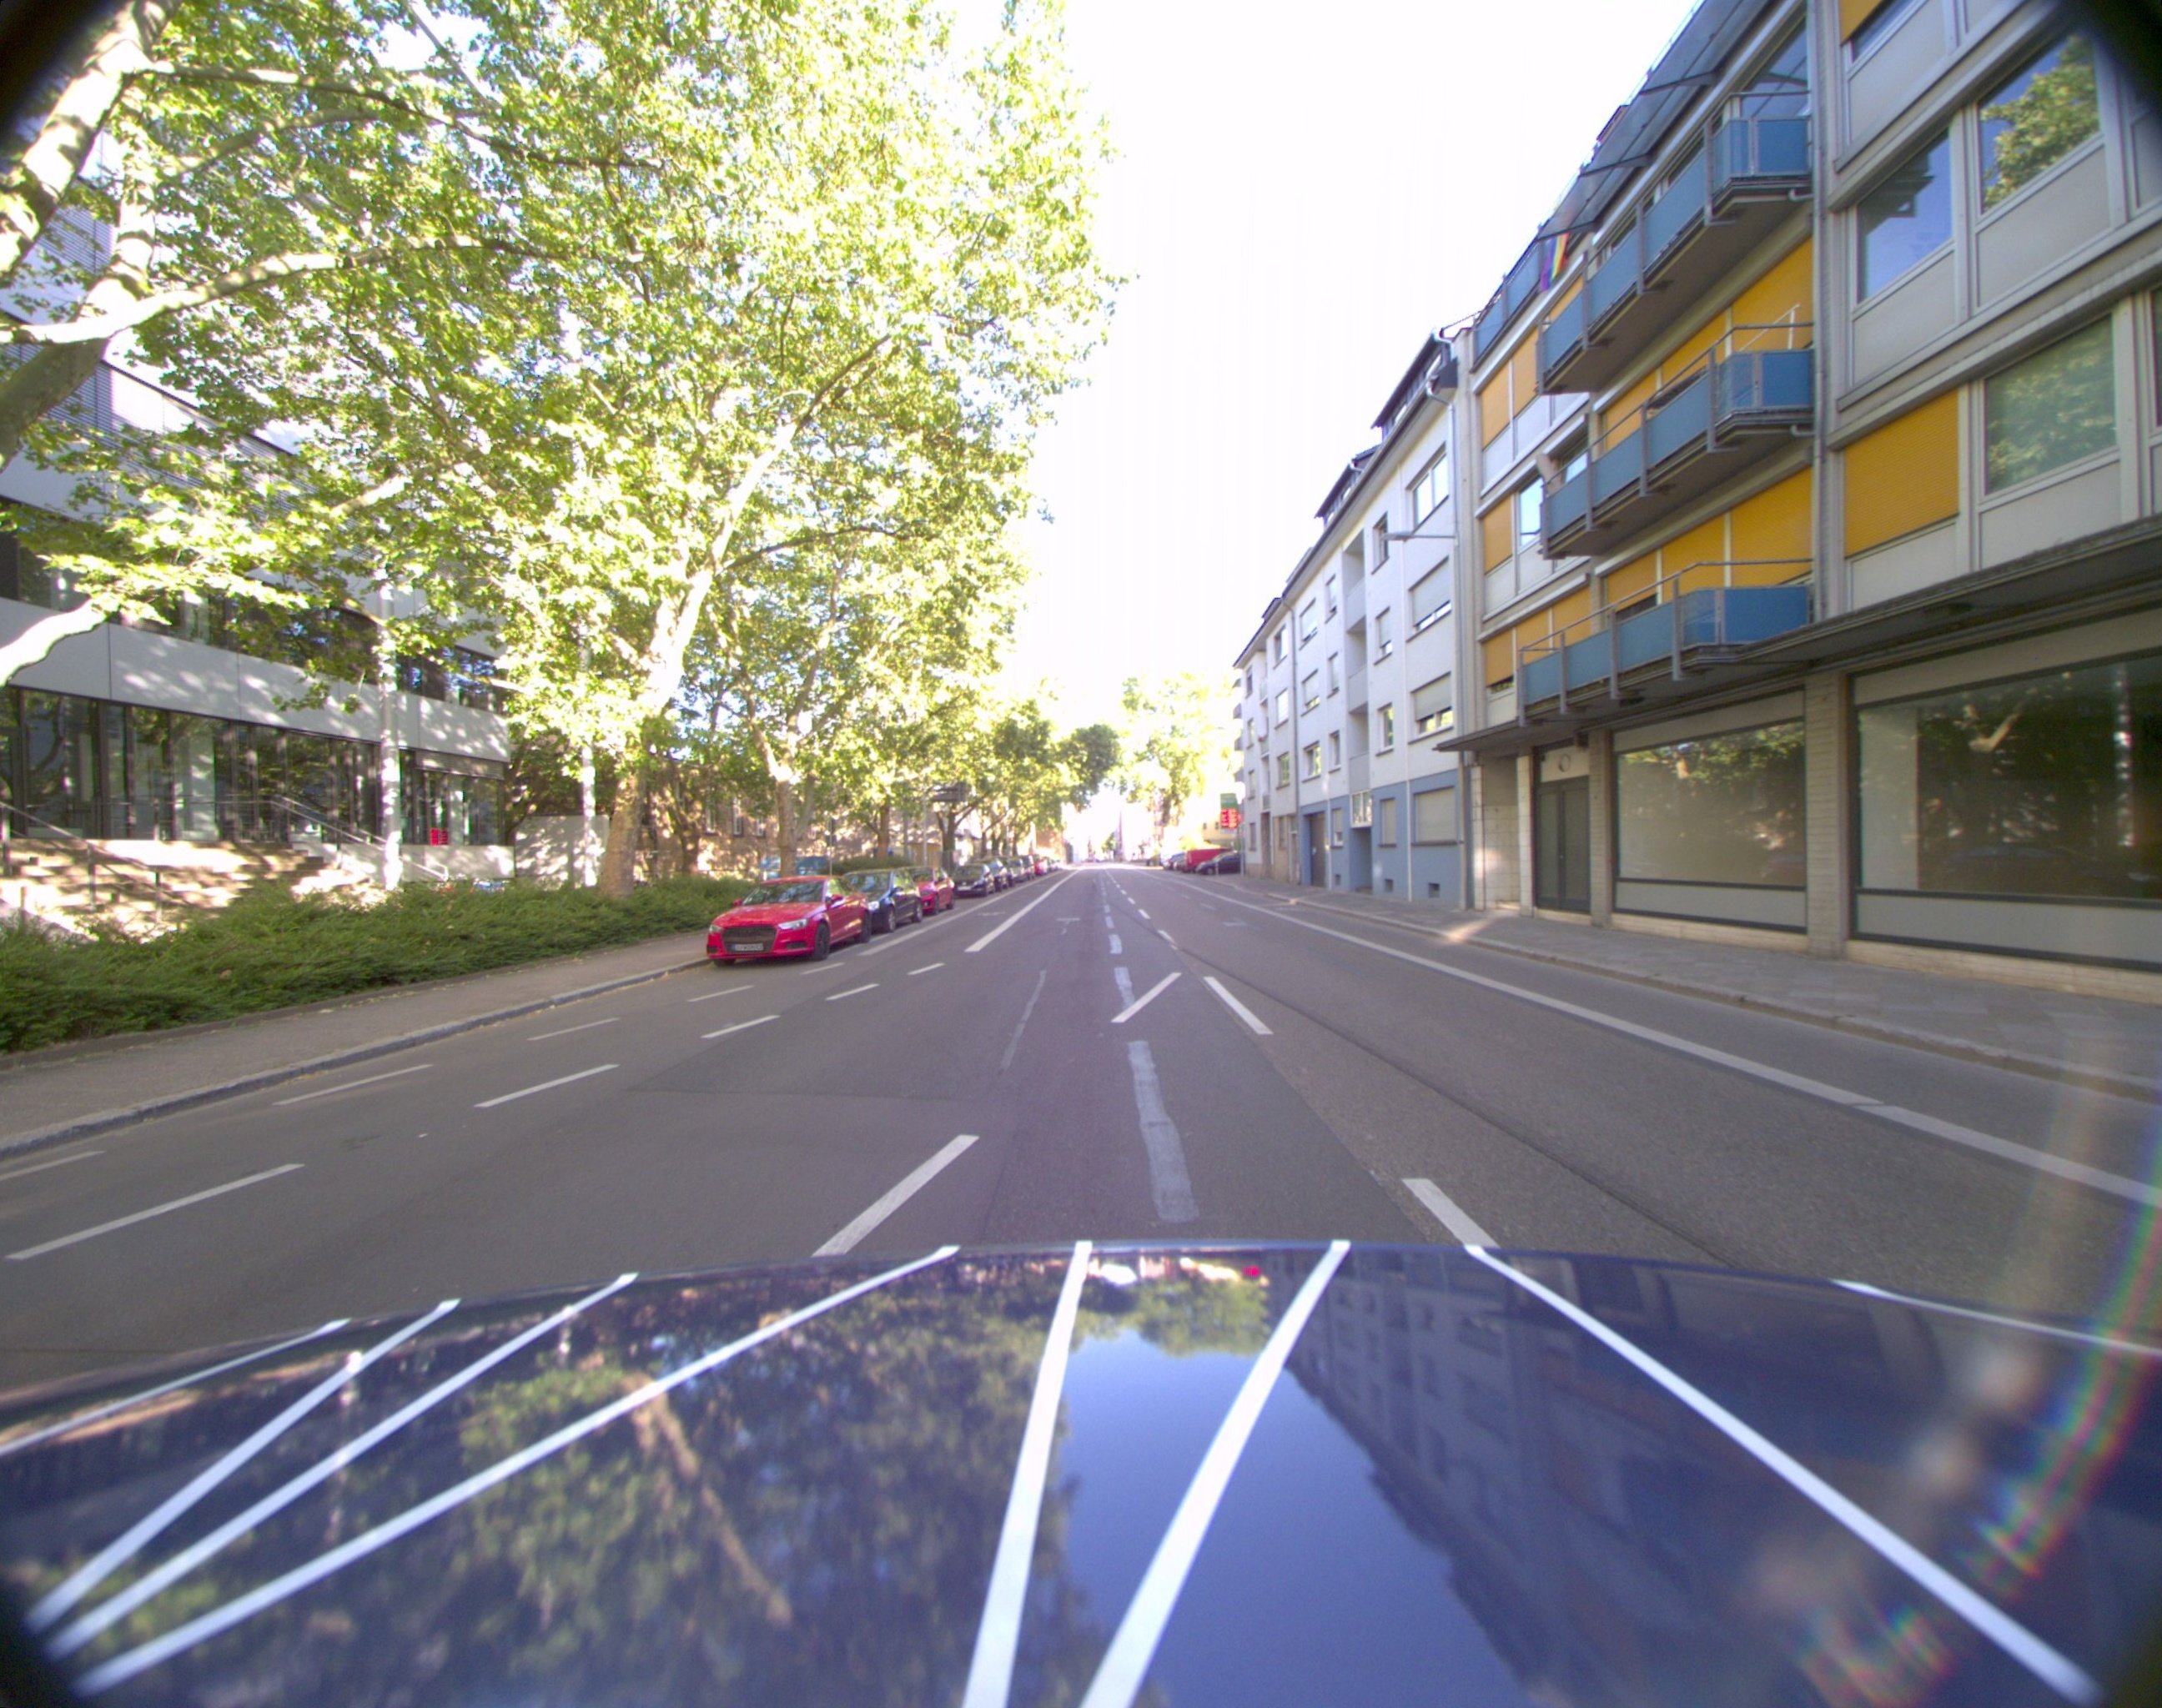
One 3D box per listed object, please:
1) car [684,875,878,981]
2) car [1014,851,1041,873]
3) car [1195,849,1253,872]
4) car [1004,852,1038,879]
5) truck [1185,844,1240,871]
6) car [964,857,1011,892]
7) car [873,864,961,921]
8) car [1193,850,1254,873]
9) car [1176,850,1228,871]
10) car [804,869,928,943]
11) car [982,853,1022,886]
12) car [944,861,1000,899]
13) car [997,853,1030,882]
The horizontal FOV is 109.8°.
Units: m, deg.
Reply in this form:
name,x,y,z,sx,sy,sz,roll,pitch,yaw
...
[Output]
name,x,y,z,sx,sy,sz,roll,pitch,yaw
car,-5.146,1.194,13.721,1.818,1.405,4.163,-3,0,0
car,-4.603,0.703,66.094,2.042,1.745,4.552,-3,0,0
car,10.716,0.483,57.145,3.996,1.494,1.761,-2,1,2
car,-4.328,0.800,55.664,2.042,1.745,4.552,-3,0,0
truck,10.356,0.250,59.994,3.996,1.925,1.761,-2,1,2
car,-4.611,0.981,38.133,1.790,1.544,4.163,-3,0,0
car,-5.038,1.126,23.860,1.818,1.475,4.163,-3,0,0
car,10.243,0.550,54.797,3.996,1.449,1.761,-2,1,2
car,9.966,0.530,62.847,3.996,1.494,1.761,-2,1,2
car,-5.091,1.171,18.577,1.818,1.405,4.163,-3,0,0
car,-4.535,0.872,44.150,1.790,1.745,4.345,-3,0,0
car,-4.712,1.080,33.387,1.790,1.451,4.163,-3,0,0
car,-4.457,0.855,50.705,1.790,1.745,4.552,-3,0,0
